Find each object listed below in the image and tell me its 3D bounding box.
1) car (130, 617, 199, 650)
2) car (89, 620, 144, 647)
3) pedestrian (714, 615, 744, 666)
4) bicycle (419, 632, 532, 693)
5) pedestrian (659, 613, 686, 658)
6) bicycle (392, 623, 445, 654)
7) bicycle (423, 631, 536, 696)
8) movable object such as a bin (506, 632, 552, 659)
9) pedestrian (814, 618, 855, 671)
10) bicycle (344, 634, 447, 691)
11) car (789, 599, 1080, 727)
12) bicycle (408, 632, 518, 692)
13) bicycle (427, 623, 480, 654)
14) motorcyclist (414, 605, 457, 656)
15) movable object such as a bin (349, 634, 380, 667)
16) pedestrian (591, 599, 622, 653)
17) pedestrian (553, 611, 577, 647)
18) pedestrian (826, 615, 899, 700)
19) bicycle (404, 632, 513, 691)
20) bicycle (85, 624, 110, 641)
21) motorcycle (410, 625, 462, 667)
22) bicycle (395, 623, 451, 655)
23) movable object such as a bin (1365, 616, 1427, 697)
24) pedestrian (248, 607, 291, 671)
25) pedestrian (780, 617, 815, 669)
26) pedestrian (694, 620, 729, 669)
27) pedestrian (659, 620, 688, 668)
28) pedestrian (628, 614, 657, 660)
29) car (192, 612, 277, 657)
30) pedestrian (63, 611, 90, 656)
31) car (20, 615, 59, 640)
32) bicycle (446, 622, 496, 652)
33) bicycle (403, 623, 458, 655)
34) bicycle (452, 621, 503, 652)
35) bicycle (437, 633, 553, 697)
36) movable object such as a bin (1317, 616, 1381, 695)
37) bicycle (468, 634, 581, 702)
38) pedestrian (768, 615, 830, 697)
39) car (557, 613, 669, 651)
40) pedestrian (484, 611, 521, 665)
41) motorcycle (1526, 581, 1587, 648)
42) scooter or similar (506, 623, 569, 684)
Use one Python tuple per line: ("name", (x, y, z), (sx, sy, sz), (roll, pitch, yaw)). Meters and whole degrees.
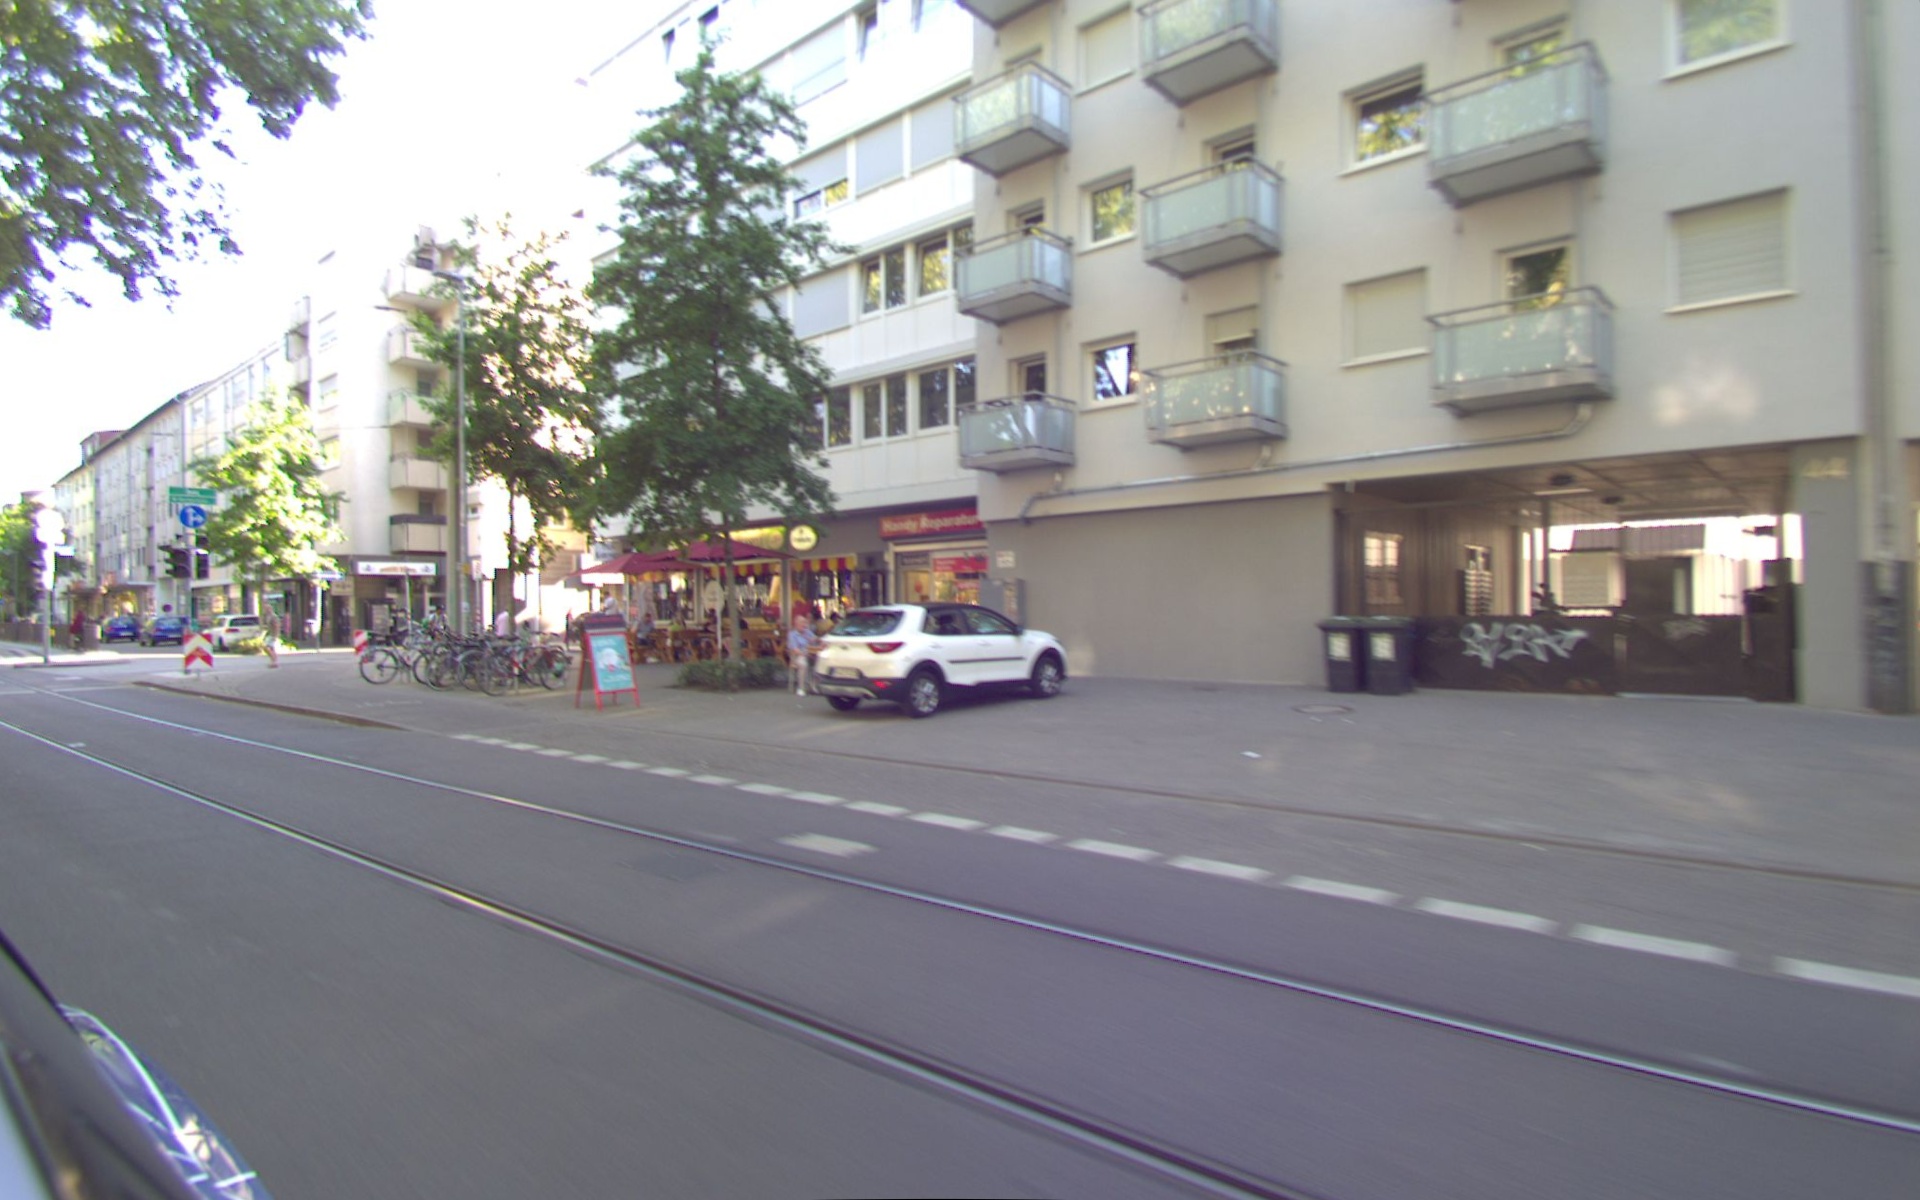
("car", (-39.191, 1.641, 49.806), (4.387, 1.556, 1.935), (-1, -2, 42))
("car", (-47.677, 1.873, 57.149), (4.280, 1.475, 1.775), (-1, -2, 42))
("pedestrian", (-5.579, 0.970, 24.455), (0.558, 1.207, 0.511), (-1, -1, 13))
("bicycle", (-9.146, 1.159, 19.164), (0.657, 1.014, 1.812), (-1, 0, 36))
("pedestrian", (-7.778, 0.955, 27.385), (0.507, 1.207, 0.562), (-1, -1, 7))
("bicycle", (-21.409, 1.509, 40.062), (0.567, 1.165, 2.025), (-1, -1, 19))
("bicycle", (-8.948, 1.151, 18.905), (0.657, 1.072, 1.812), (-1, 0, 36))
("movable object such as a bin", (-13.347, 1.394, 31.352), (0.661, 0.763, 1.189), (-1, 0, 20))
("pedestrian", (-2.911, 1.015, 23.482), (0.655, 1.207, 0.665), (-2, -2, 40))
("bicycle", (-11.370, 1.236, 20.431), (0.657, 1.014, 1.675), (-1, 0, 36))
("car", (-0.244, 0.773, 14.352), (1.852, 1.486, 3.968), (-1, 0, 44))
("bicycle", (-9.606, 1.177, 19.619), (0.657, 1.014, 1.812), (-1, 0, 36))
("bicycle", (-19.523, 1.469, 39.067), (1.759, 1.165, 0.574), (0, -1, -18))
("motorcyclist", (-15.327, 0.885, 29.544), (0.863, 1.451, 1.017), (1, -2, -44))
("movable object such as a bin", (-17.612, 1.492, 29.945), (0.646, 0.939, 0.536), (-1, -1, 25))
("pedestrian", (-11.030, 0.808, 31.606), (0.738, 1.672, 0.769), (0, -1, -3))
("pedestrian", (-17.247, 1.256, 44.159), (0.726, 1.568, 0.717), (-2, -1, 43))
("pedestrian", (-1.549, 0.895, 16.087), (0.907, 1.307, 0.708), (-1, -1, 28))
("bicycle", (-9.874, 1.189, 19.981), (0.657, 1.014, 1.812), (-1, 0, 36))
("bicycle", (-59.999, 2.274, 70.382), (2.020, 1.165, 0.555), (-1, -1, 26))
("motorcycle", (-15.275, 1.332, 29.509), (0.839, 1.173, 1.916), (1, -2, -44))
("bicycle", (-20.743, 1.503, 39.099), (1.837, 1.165, 0.572), (0, -1, -44))
("movable object such as a bin", (5.913, 0.747, 13.729), (0.574, 1.063, 0.665), (-2, -2, 43))
("pedestrian", (-18.673, 1.042, 27.377), (0.767, 1.684, 0.750), (-1, -1, 36))
("pedestrian", (-3.900, 1.025, 24.306), (0.624, 1.207, 0.556), (-2, -2, 41))
("pedestrian", (-6.167, 1.096, 25.094), (0.684, 1.207, 0.601), (-1, -1, 7))
("pedestrian", (-7.327, 1.119, 25.865), (0.564, 1.207, 0.506), (-2, -2, 43))
("pedestrian", (-8.499, 0.980, 27.092), (0.560, 1.207, 0.509), (-1, -1, 25))
("car", (-30.026, 1.408, 41.829), (4.355, 1.663, 1.859), (-1, 1, 41))
("pedestrian", (-32.245, 1.208, 36.945), (0.772, 1.597, 0.647), (-1, -1, 42))
("car", (-72.582, 2.145, 79.769), (4.046, 1.949, 1.785), (-1, -1, 40))
("bicycle", (-19.638, 1.466, 40.667), (0.571, 1.165, 1.769), (-1, -1, 34))
("bicycle", (-20.063, 1.474, 38.362), (1.759, 1.165, 0.574), (0, -1, -18))
("bicycle", (-19.107, 1.444, 40.069), (1.761, 1.165, 0.573), (0, -1, -38))
("bicycle", (-8.383, 1.150, 18.299), (0.657, 1.014, 1.812), (-1, 0, 36))
("movable object such as a bin", (5.439, 0.765, 14.158), (0.622, 1.063, 0.670), (-2, -2, 43))
("bicycle", (-7.435, 1.139, 17.347), (0.657, 1.014, 1.675), (-1, 0, 36))
("pedestrian", (-2.650, 0.912, 16.713), (0.744, 1.307, 0.708), (-1, -1, 28))
("car", (-14.962, 1.334, 43.765), (1.894, 1.515, 4.235), (-1, -1, 42))
("pedestrian", (-13.641, 1.123, 30.167), (0.767, 1.568, 0.718), (-1, -1, 36))
("motorcycle", (13.306, 0.316, 22.546), (0.984, 1.412, 2.196), (-1, -1, 35))
("scooter or similar", (-8.643, 1.076, 20.742), (0.498, 1.185, 1.068), (-1, 0, 40))
